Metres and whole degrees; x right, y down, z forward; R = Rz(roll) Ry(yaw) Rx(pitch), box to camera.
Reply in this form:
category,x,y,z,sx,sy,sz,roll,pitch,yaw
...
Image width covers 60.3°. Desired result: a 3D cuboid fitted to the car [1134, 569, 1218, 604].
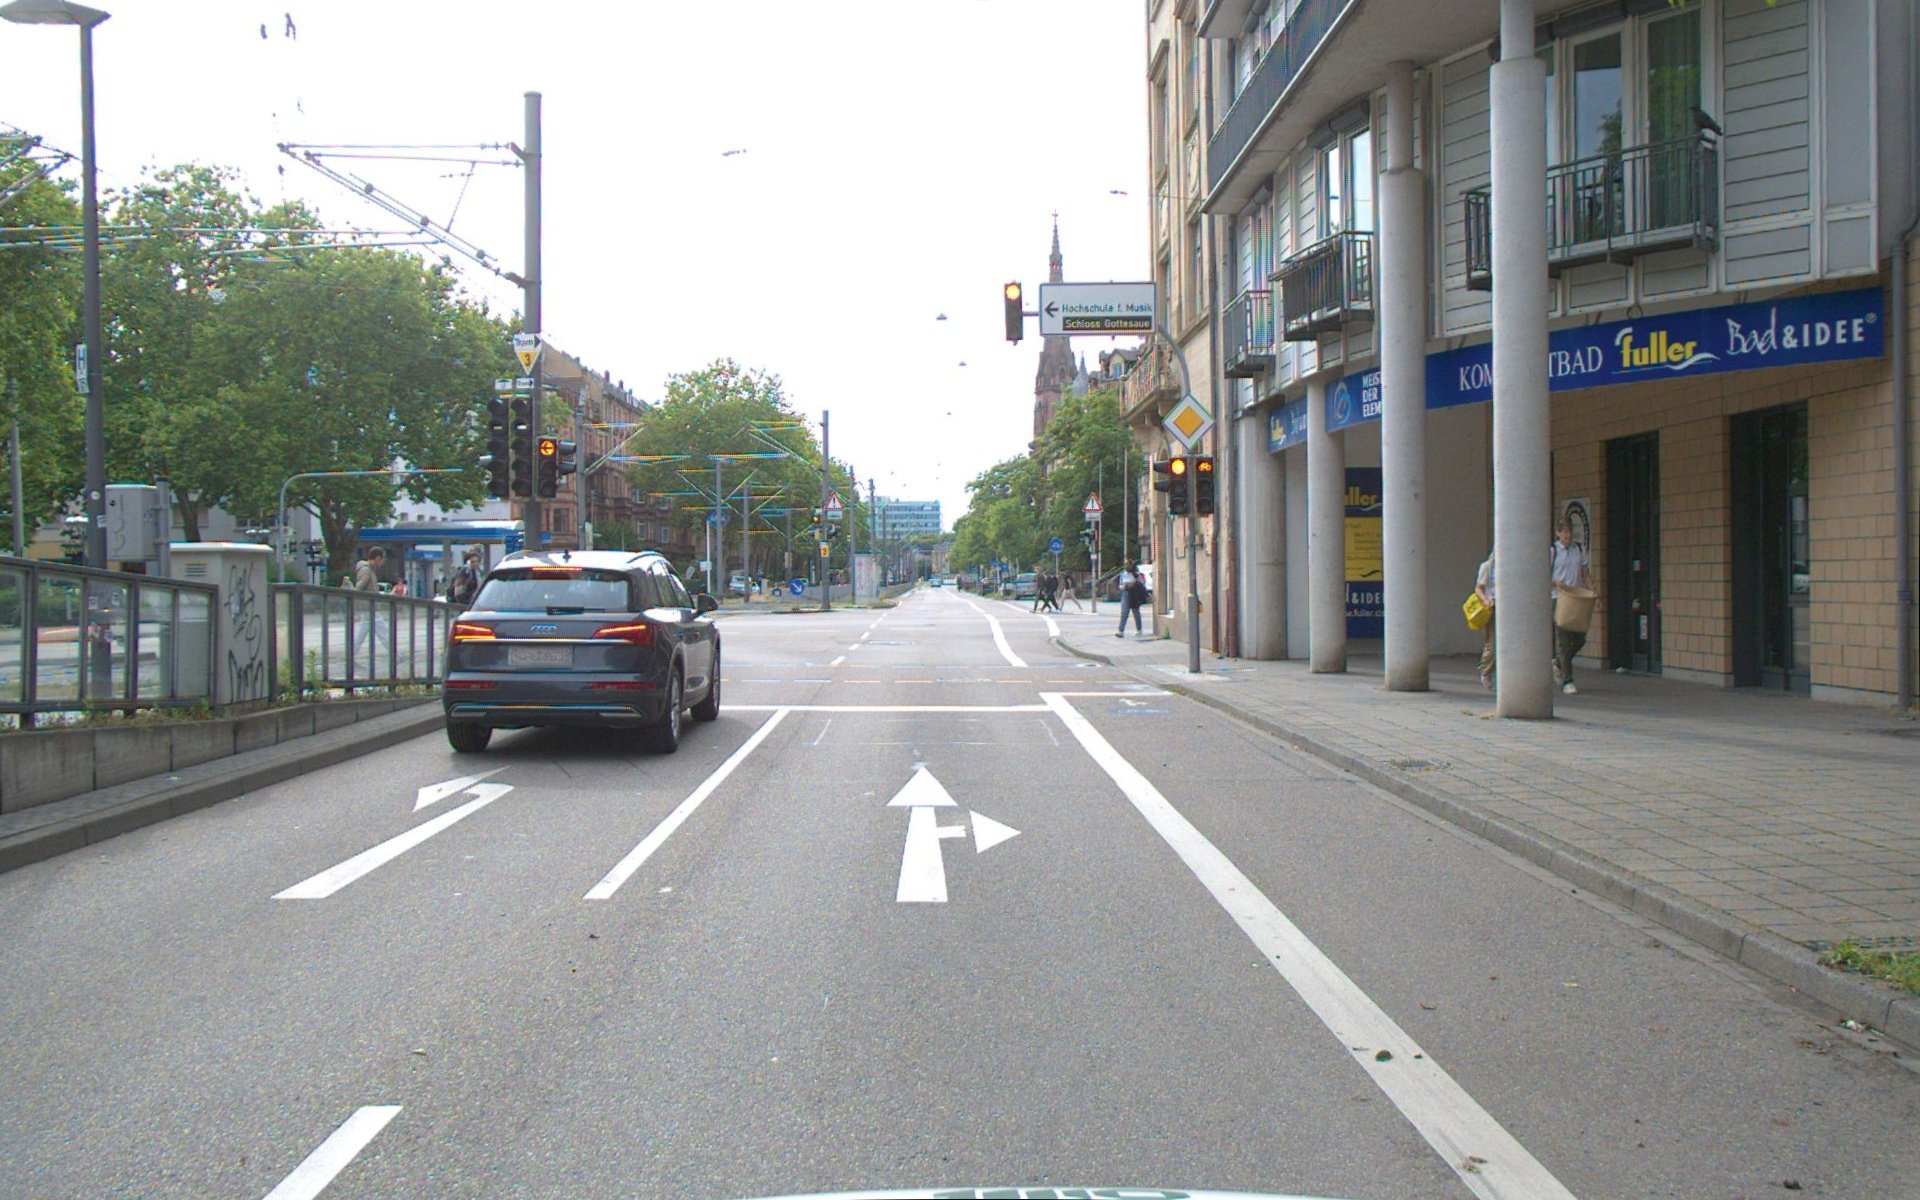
category,x,y,z,sx,sy,sz,roll,pitch,yaw
car,10.306,-0.645,79.039,3.722,1.629,2.000,0,0,-1

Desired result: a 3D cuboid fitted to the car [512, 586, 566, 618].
category,x,y,z,sx,sy,sz,roll,pitch,yaw
car,-21.821,0.070,85.897,1.856,1.585,3.835,0,1,-1

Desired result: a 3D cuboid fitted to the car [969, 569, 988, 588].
category,x,y,z,sx,sy,sz,roll,pitch,yaw
car,2.059,-2.440,186.117,1.953,2.049,3.999,0,1,-1

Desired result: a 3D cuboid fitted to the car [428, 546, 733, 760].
category,x,y,z,sx,sy,sz,roll,pitch,yaw
car,-3.198,0.380,14.829,1.842,1.629,4.356,0,1,-2

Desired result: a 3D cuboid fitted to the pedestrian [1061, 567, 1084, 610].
category,x,y,z,sx,sy,sz,roll,pitch,yaw
pedestrian,4.372,-0.458,64.552,0.834,1.683,0.508,0,0,-3

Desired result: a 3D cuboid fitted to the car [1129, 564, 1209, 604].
category,x,y,z,sx,sy,sz,roll,pitch,yaw
car,10.408,-0.798,82.451,3.722,1.937,2.000,0,0,-1

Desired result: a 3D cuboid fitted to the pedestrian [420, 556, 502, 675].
category,x,y,z,sx,sy,sz,roll,pitch,yaw
pedestrian,-7.204,0.221,23.890,0.985,1.681,0.621,0,0,-35

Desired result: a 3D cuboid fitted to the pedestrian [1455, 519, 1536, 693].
category,x,y,z,sx,sy,sz,roll,pitch,yaw
pedestrian,5.829,0.057,18.022,0.603,1.837,0.737,-2,1,0

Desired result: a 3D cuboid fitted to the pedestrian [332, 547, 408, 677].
category,x,y,z,sx,sy,sz,roll,pitch,yaw
pedestrian,-8.589,0.170,24.056,0.998,1.845,0.580,0,0,-24

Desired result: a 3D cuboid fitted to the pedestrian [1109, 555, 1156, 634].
category,x,y,z,sx,sy,sz,roll,pitch,yaw
pedestrian,3.795,-0.118,36.392,0.659,1.709,0.865,1,0,38

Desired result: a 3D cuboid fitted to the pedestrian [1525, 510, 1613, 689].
category,x,y,z,sx,sy,sz,roll,pitch,yaw
pedestrian,6.757,-0.011,18.376,0.661,1.923,0.737,-2,1,0

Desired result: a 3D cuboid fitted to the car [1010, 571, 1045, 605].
category,x,y,z,sx,sy,sz,roll,pitch,yaw
car,4.212,-0.761,104.262,1.953,2.049,3.999,0,1,-1

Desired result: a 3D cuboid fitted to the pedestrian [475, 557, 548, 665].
category,x,y,z,sx,sy,sz,roll,pitch,yaw
pedestrian,-6.876,0.155,25.358,0.689,1.621,0.828,1,0,36

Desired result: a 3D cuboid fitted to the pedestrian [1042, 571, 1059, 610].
category,x,y,z,sx,sy,sz,roll,pitch,yaw
pedestrian,3.618,-0.386,66.206,0.640,1.564,0.465,0,0,-5

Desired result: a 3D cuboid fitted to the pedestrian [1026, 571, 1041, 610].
category,x,y,z,sx,sy,sz,roll,pitch,yaw
pedestrian,2.969,-0.374,66.589,0.535,1.564,0.465,0,0,-5

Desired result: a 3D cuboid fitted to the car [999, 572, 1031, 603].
category,x,y,z,sx,sy,sz,roll,pitch,yaw
car,3.765,-0.861,113.688,1.953,2.049,3.999,0,1,-1

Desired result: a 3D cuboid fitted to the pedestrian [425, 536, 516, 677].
category,x,y,z,sx,sy,sz,roll,pitch,yaw
pedestrian,-6.403,0.076,21.638,1.113,1.809,0.625,-1,0,-19

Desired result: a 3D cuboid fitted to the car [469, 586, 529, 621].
category,x,y,z,sx,sy,sz,roll,pitch,yaw
car,-21.948,0.141,78.913,1.856,1.585,3.835,0,1,-1

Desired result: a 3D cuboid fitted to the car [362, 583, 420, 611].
category,x,y,z,sx,sy,sz,roll,pitch,yaw
car,-32.261,-0.187,93.871,1.953,1.556,3.999,0,1,-1

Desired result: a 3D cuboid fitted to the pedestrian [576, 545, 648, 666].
category,x,y,z,sx,sy,sz,roll,pitch,yaw
pedestrian,-5.317,0.072,25.252,0.900,1.815,0.645,1,0,36

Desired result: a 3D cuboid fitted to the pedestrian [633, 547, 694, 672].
category,x,y,z,sx,sy,sz,roll,pitch,yaw
pedestrian,-4.076,0.121,22.785,0.713,1.690,0.756,0,0,-1

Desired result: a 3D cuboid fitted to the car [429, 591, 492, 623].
category,x,y,z,sx,sy,sz,roll,pitch,yaw
car,-21.920,0.302,72.679,1.601,1.348,3.999,0,1,-1
